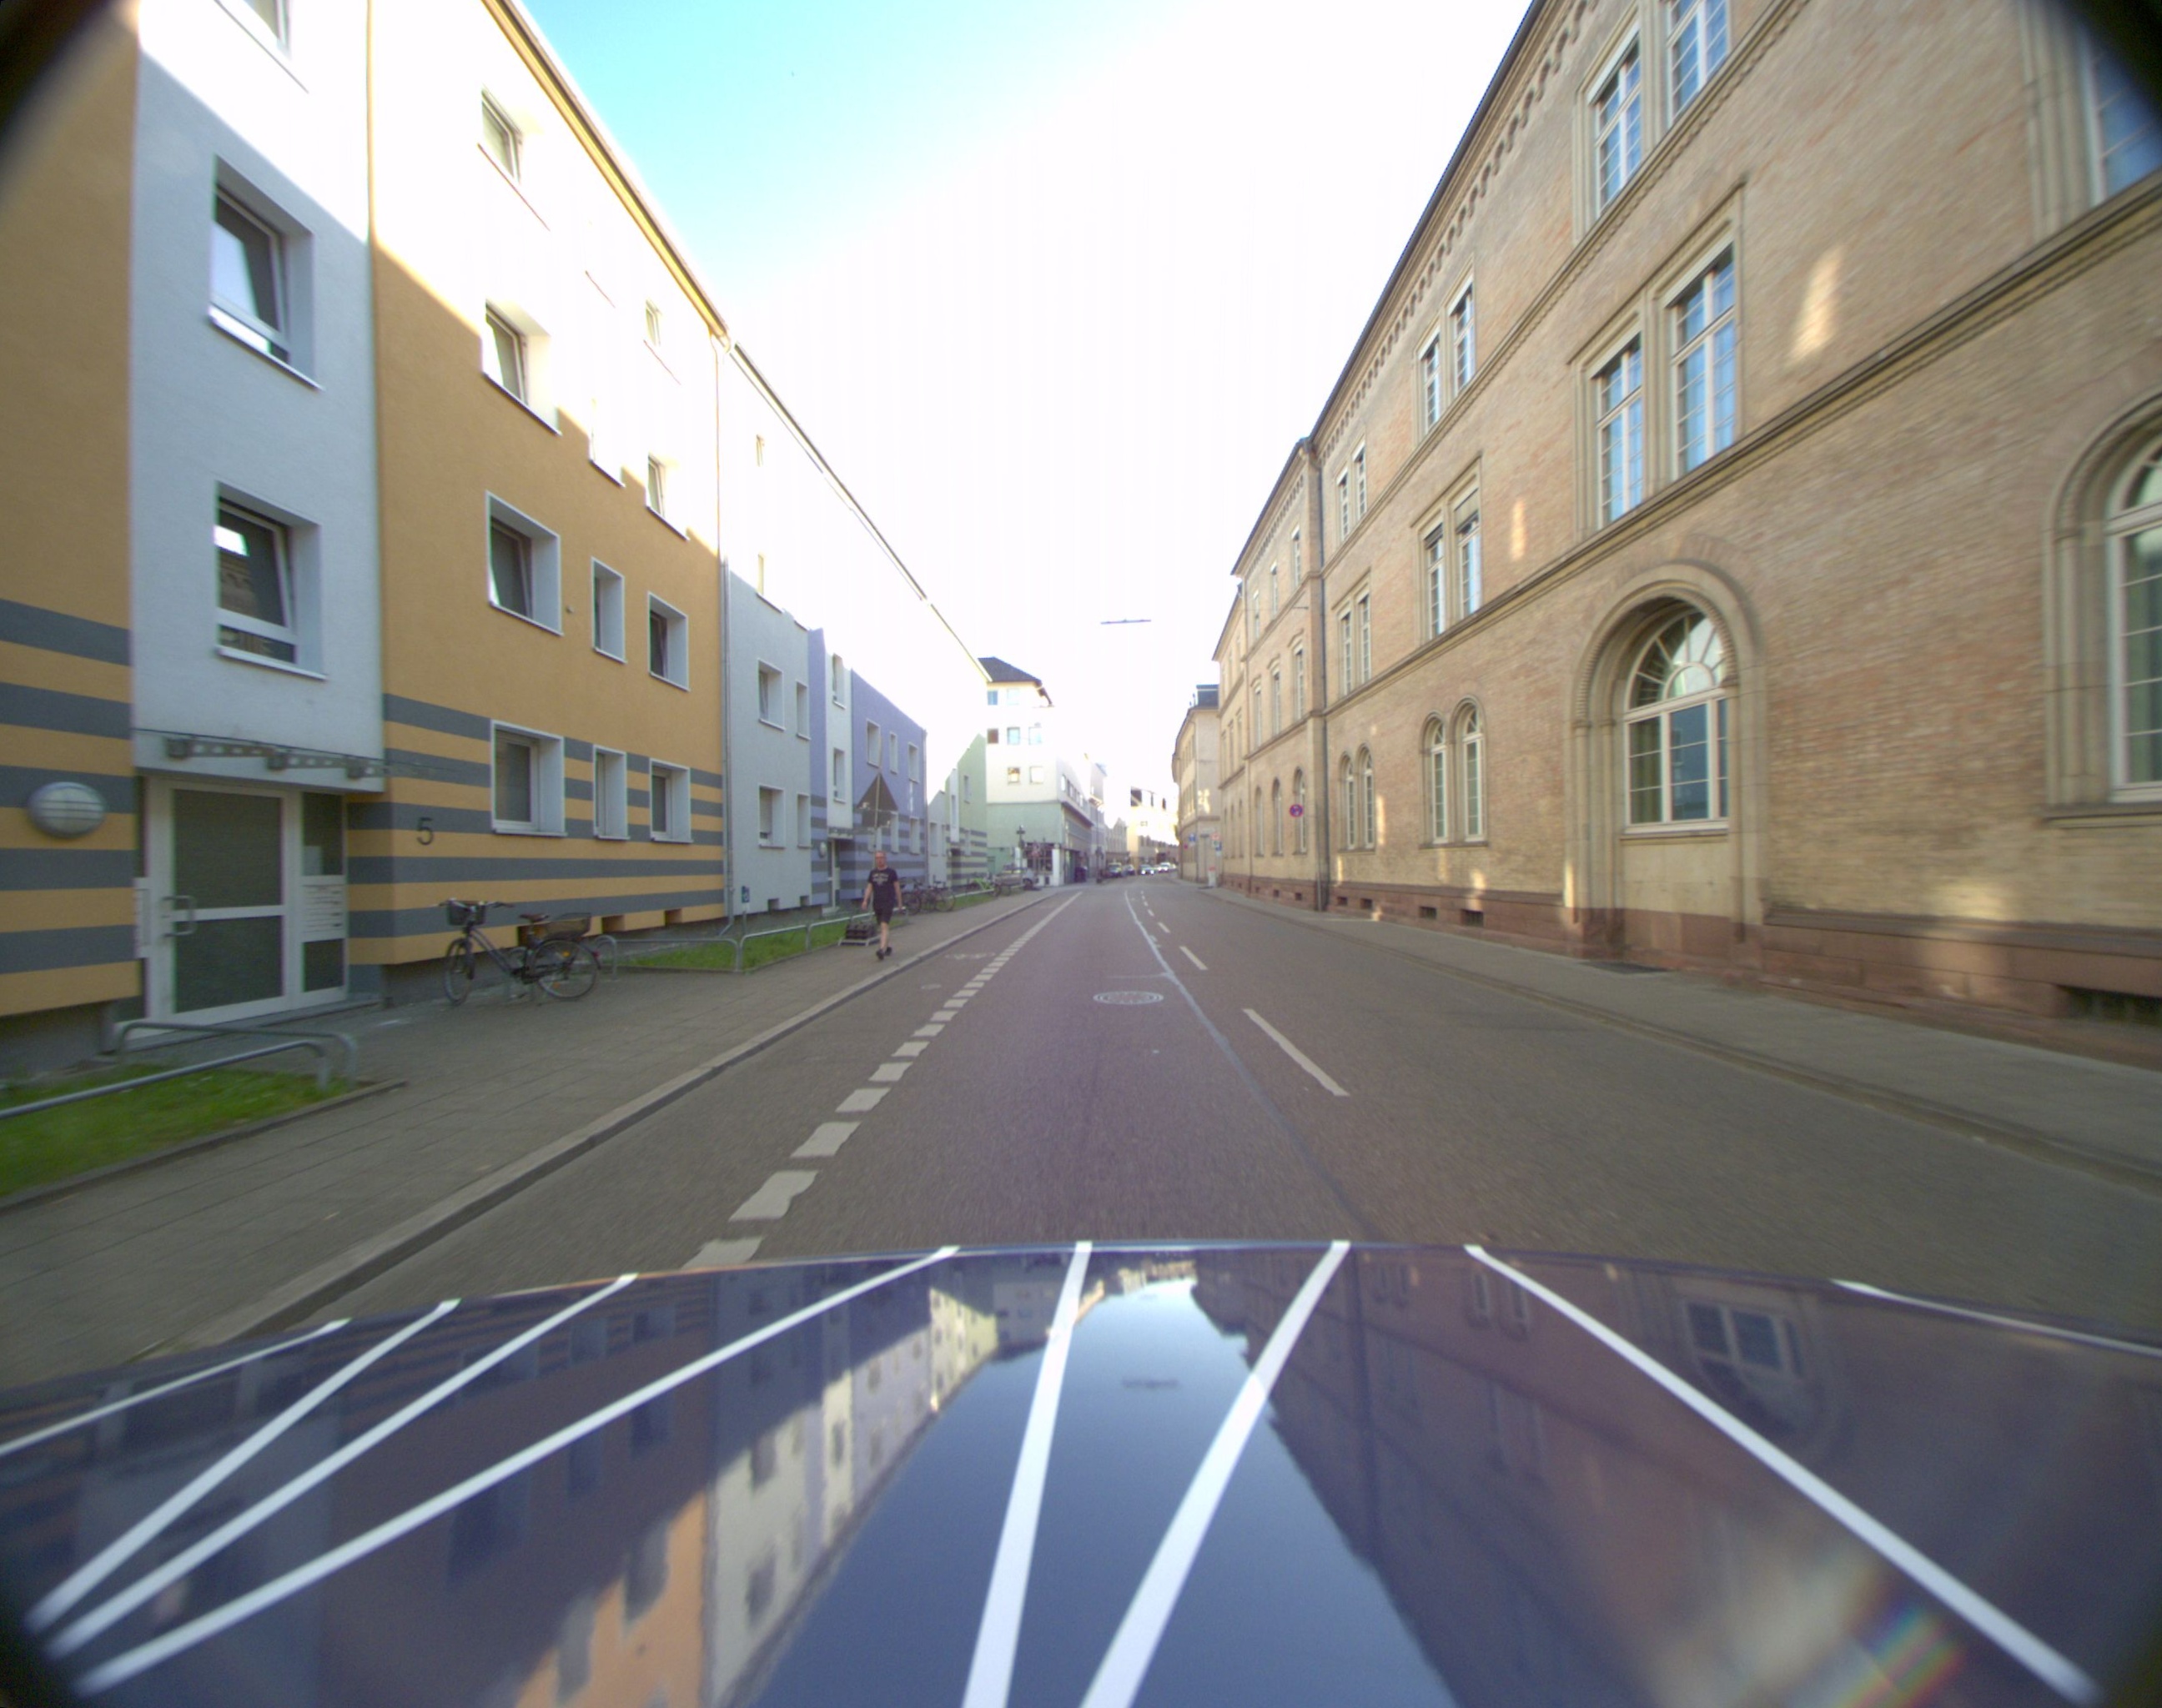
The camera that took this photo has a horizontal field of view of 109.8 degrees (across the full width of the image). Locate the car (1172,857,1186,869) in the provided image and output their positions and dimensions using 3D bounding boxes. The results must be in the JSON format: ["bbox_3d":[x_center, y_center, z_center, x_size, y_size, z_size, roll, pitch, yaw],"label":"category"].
[{"bbox_3d":[14.495,1.346,112.338,1.663,1.714,3.742,-1,0,11],"label":"car"}]

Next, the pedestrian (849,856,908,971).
[{"bbox_3d":[-3.299,0.942,12.432,0.646,1.778,0.915,2,0,1],"label":"pedestrian"}]

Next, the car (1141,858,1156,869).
[{"bbox_3d":[10.453,1.418,116.817,1.861,1.714,3.743,-1,0,12],"label":"car"}]

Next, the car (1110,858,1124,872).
[{"bbox_3d":[4.600,1.348,97.534,1.535,1.714,3.741,-1,0,6],"label":"car"}]

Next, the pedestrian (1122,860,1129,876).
[{"bbox_3d":[4.118,1.309,70.429,0.661,1.509,0.708,-1,0,3],"label":"pedestrian"}]

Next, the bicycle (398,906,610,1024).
[{"bbox_3d":[-6.040,1.142,8.024,1.711,1.152,0.636,0,0,-4],"label":"bicycle"}]

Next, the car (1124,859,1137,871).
[{"bbox_3d":[7.439,1.588,113.764,1.535,1.714,3.742,-1,0,10],"label":"car"}]

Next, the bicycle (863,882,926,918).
[{"bbox_3d":[-5.585,1.366,22.811,1.711,1.039,0.636,0,0,-1],"label":"bicycle"}]

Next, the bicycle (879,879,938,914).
[{"bbox_3d":[-5.437,1.330,23.961,1.711,1.075,0.636,0,0,-1],"label":"bicycle"}]

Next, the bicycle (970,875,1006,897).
[{"bbox_3d":[-4.515,1.559,37.135,1.711,1.097,0.584,0,0,-4],"label":"bicycle"}]

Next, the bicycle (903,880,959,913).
[{"bbox_3d":[-4.868,1.368,24.708,1.711,1.029,0.636,0,0,-4],"label":"bicycle"}]

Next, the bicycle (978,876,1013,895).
[{"bbox_3d":[-4.334,1.607,38.604,1.711,0.972,0.516,0,0,-4],"label":"bicycle"}]

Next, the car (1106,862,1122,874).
[{"bbox_3d":[4.003,1.646,92.230,1.634,1.405,3.686,-1,0,6],"label":"car"}]

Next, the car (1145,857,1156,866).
[{"bbox_3d":[12.861,1.344,140.929,1.534,1.714,3.743,-1,0,13],"label":"car"}]

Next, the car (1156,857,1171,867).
[{"bbox_3d":[14.789,1.351,135.382,1.921,1.712,4.966,-1,0,14],"label":"car"}]
